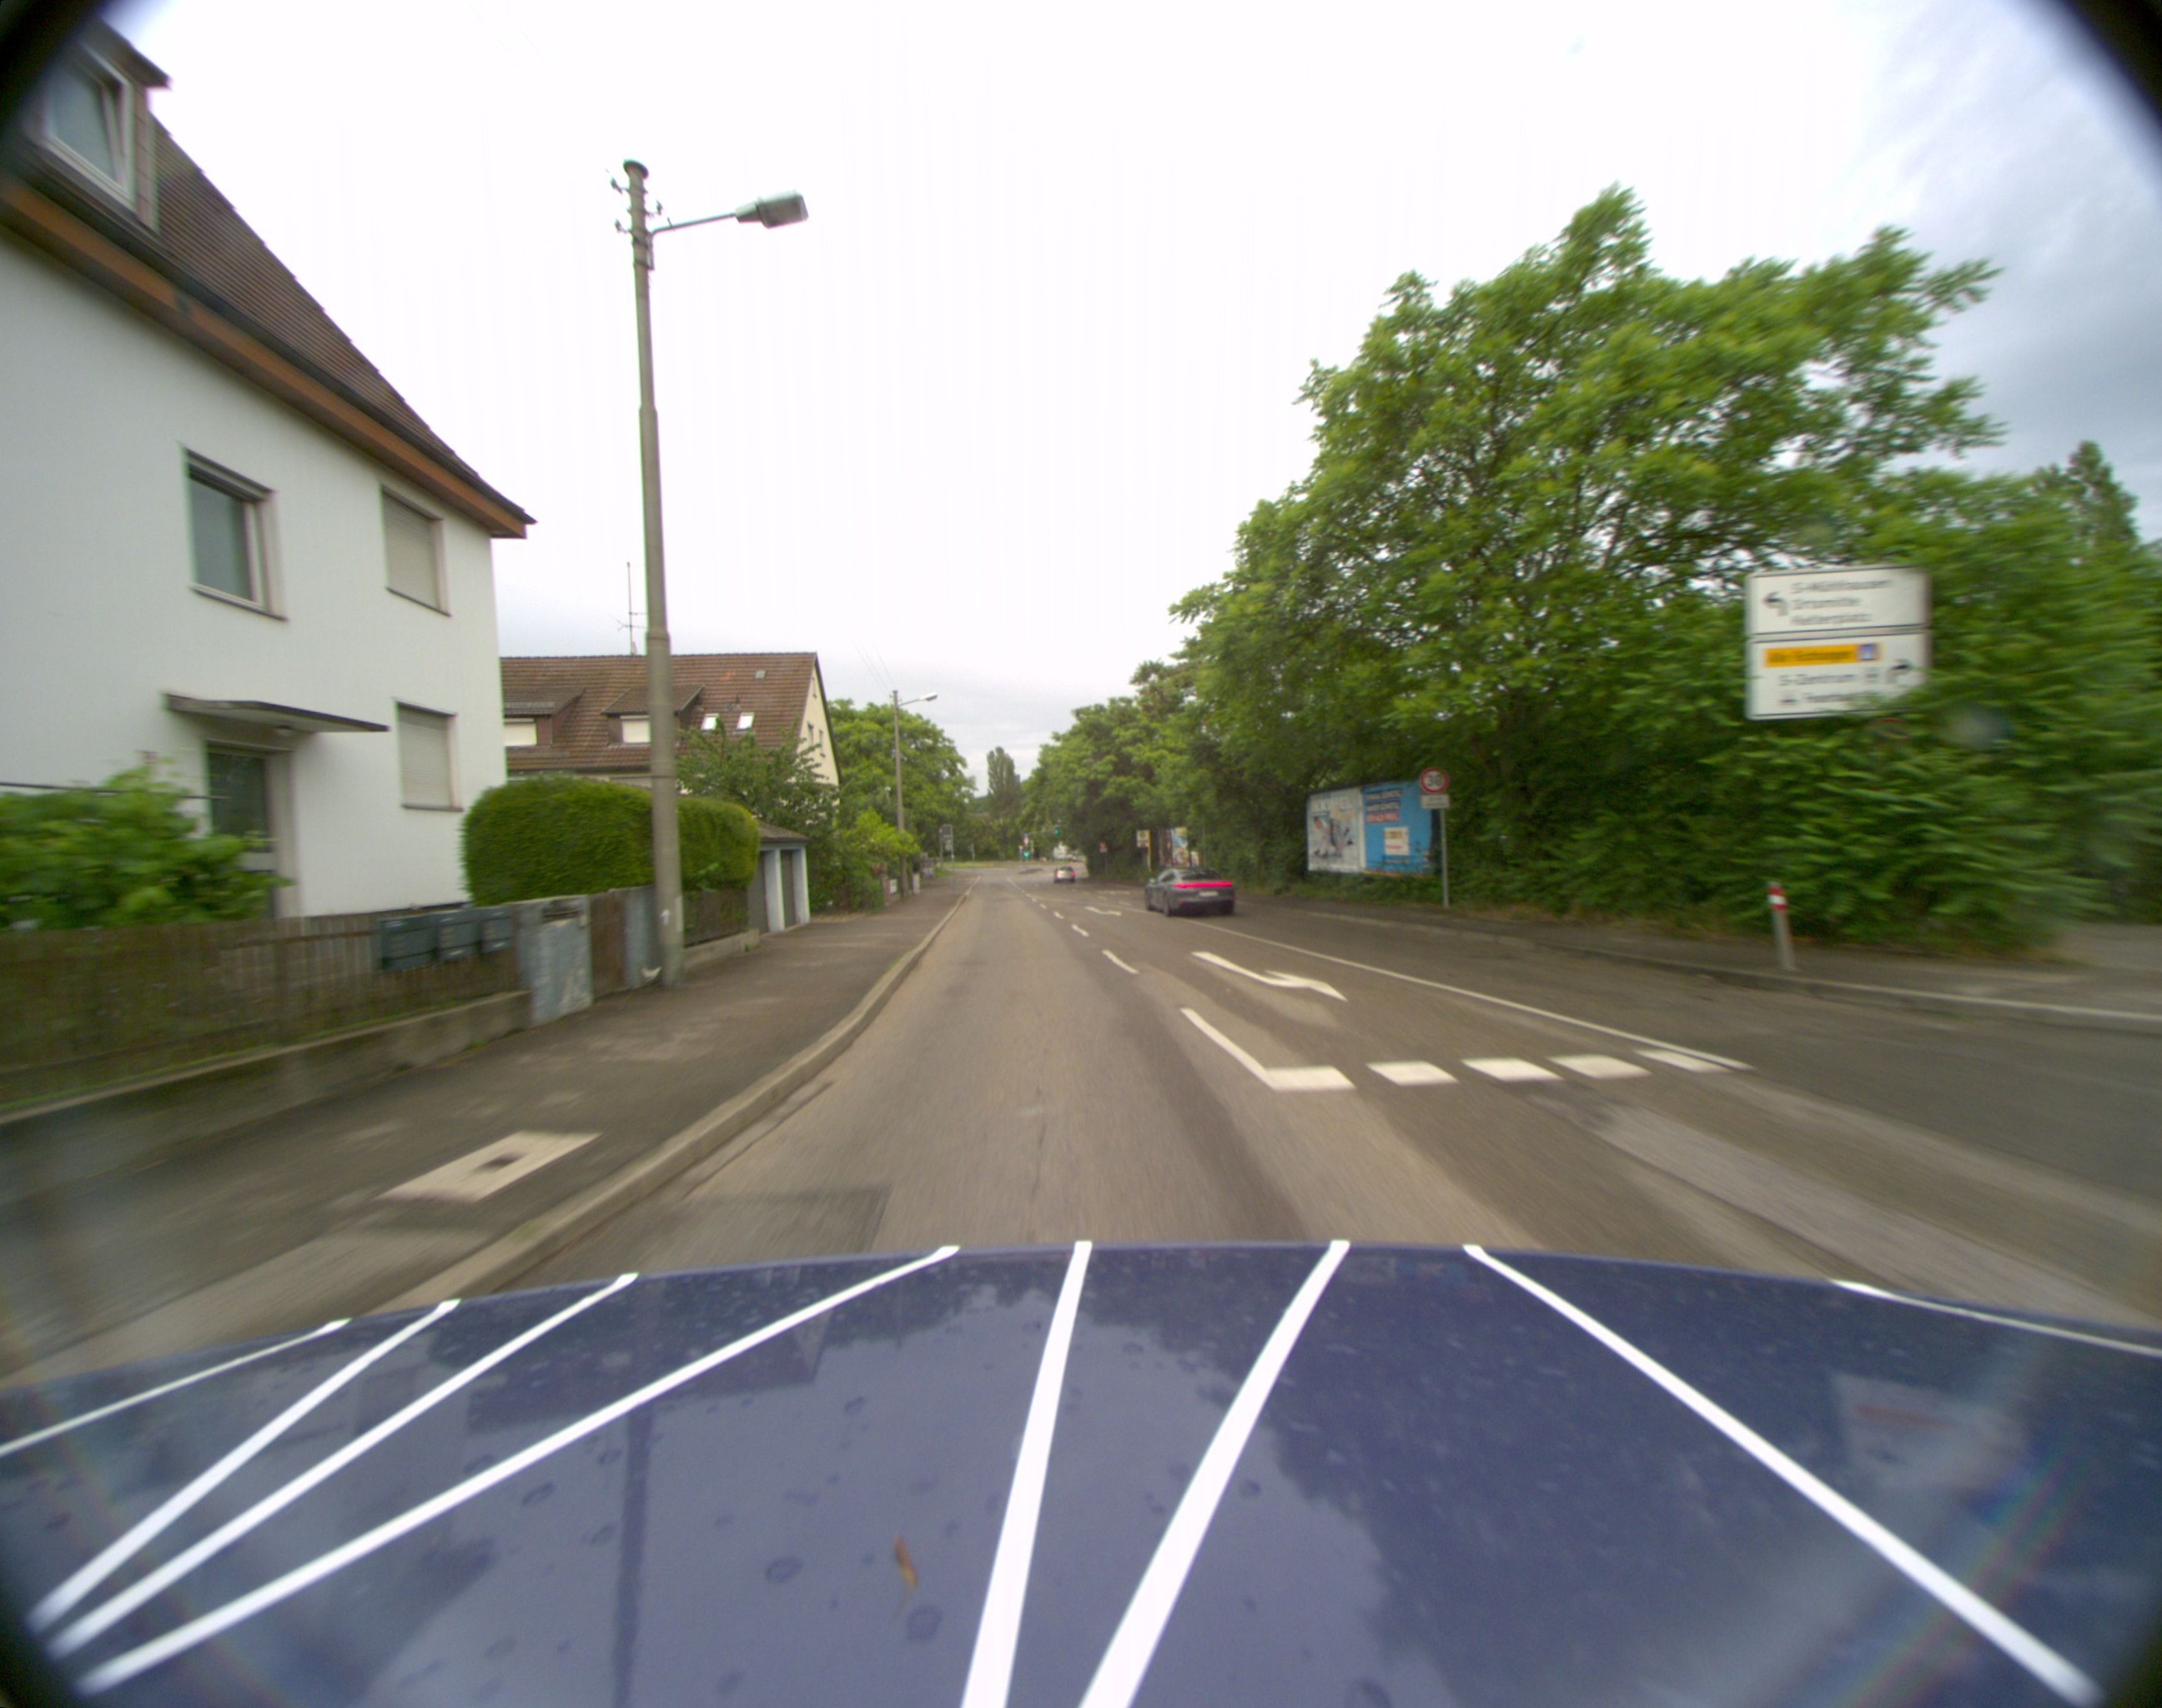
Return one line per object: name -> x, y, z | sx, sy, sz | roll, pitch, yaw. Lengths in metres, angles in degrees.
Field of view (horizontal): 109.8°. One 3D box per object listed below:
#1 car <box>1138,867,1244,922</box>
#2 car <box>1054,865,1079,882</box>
car -> 3.200, 1.146, 23.158 | 2.000, 1.434, 4.773 | -2, -1, -7
car -> -1.310, 1.679, 66.141 | 1.674, 1.459, 3.777 | -1, -1, -9
